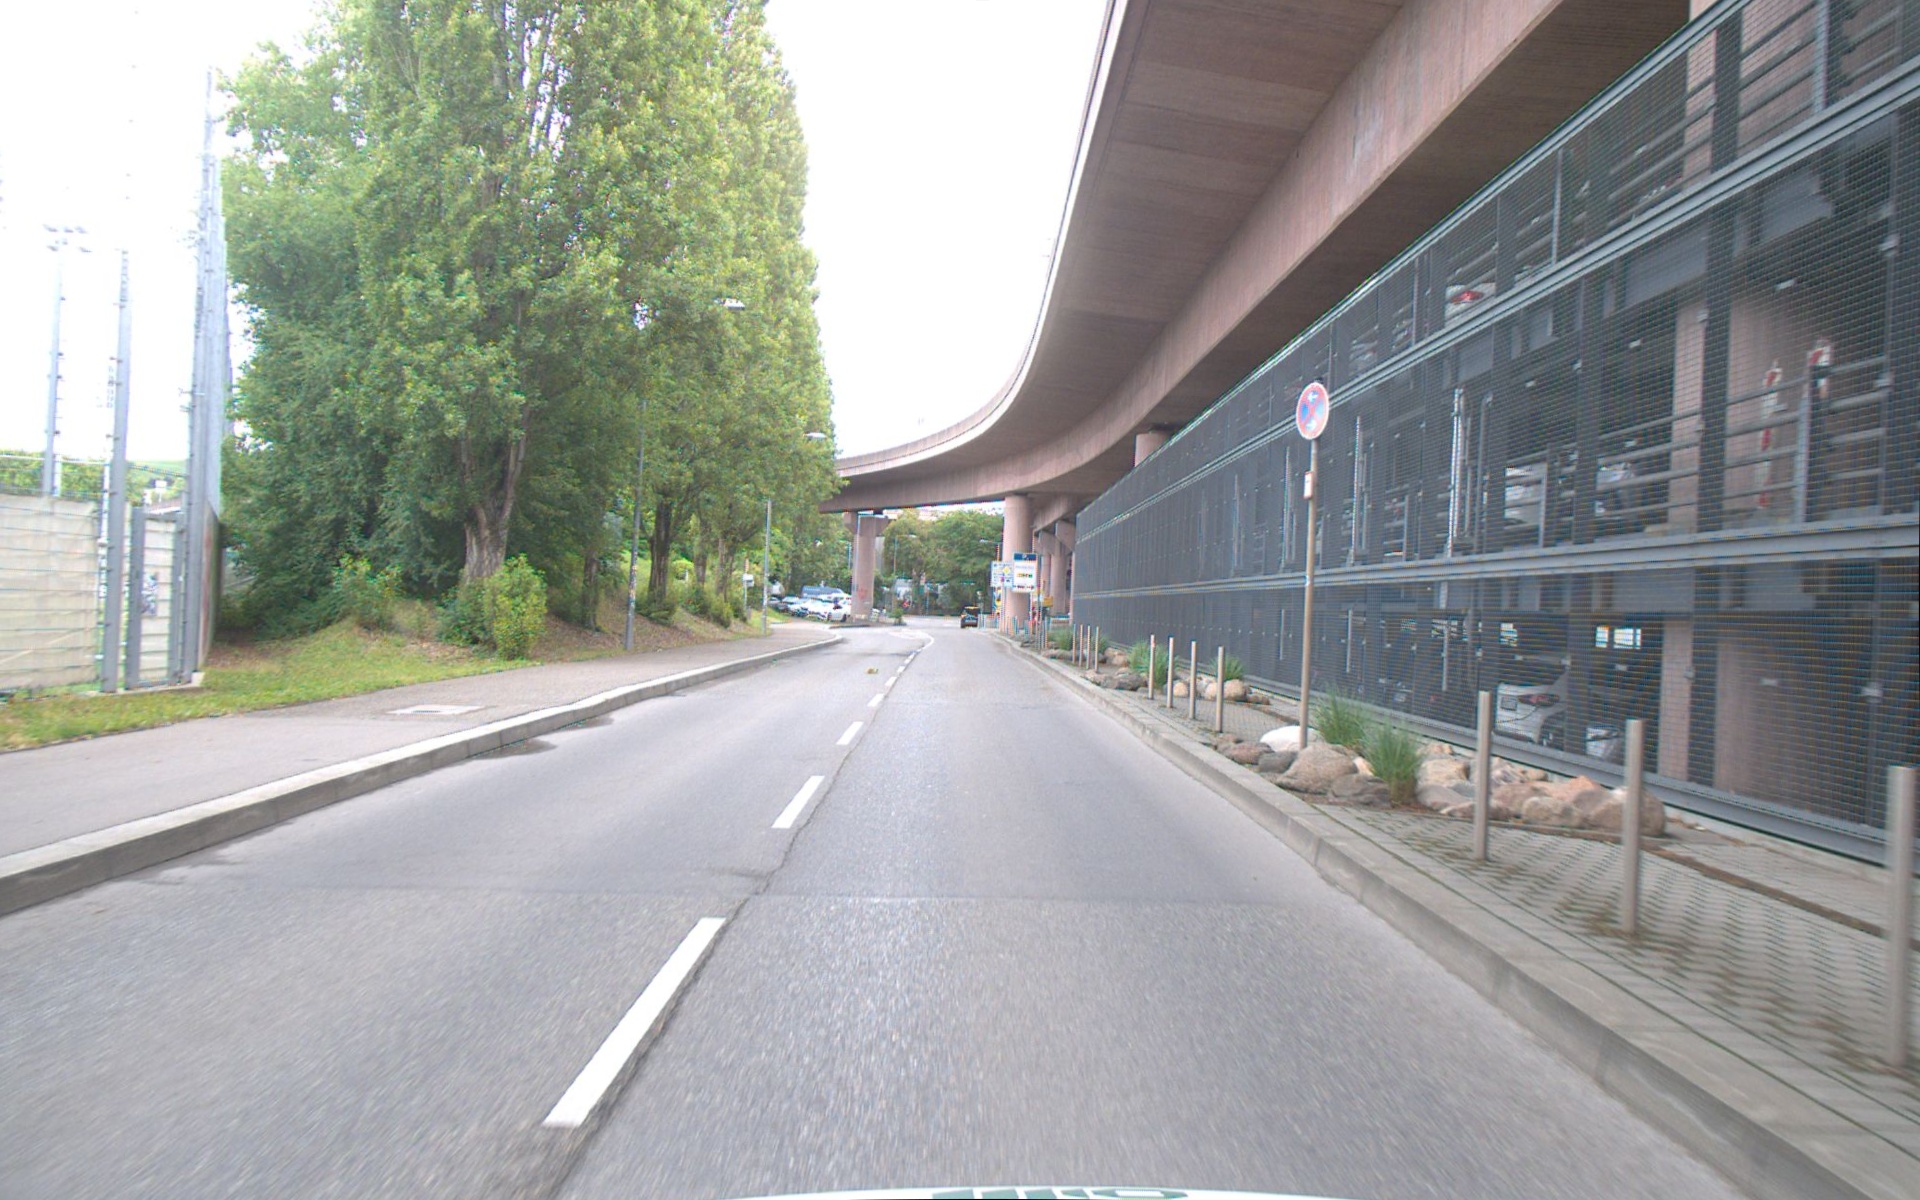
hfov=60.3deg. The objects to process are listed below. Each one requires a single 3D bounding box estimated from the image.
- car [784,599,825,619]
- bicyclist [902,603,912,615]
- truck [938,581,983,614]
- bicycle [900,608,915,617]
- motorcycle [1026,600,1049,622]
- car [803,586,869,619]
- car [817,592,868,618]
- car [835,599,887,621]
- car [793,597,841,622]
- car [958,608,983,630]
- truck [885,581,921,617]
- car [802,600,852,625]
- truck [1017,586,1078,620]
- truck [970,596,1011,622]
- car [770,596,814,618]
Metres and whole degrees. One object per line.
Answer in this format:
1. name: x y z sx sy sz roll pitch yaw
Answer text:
1. car: -12.782 0.730 136.207 1.751 1.479 3.745 2 -1 23
2. bicyclist: -6.184 1.053 194.177 0.788 1.430 1.055 1 -1 -31
3. truck: 0.069 -0.363 208.236 3.021 3.935 8.000 1 2 -21
4. bicycle: -6.160 1.477 194.130 0.794 1.117 2.109 1 -1 -30
5. motorcycle: 5.076 0.703 108.307 0.783 1.390 2.120 1 0 -17
6. car: -12.141 0.246 162.043 6.046 2.772 2.369 3 0 5
7. car: -11.315 0.481 158.930 4.459 2.148 1.852 3 0 8
8. car: -9.194 0.934 153.359 4.288 1.633 1.956 5 0 13
9. car: -11.449 0.806 132.699 1.954 1.610 4.400 6 -1 21
10. car: 0.829 1.576 136.664 1.953 1.709 4.559 2 -1 -1
11. truck: -8.040 -0.181 232.358 3.150 4.863 8.015 1 1 -16
12. car: -10.324 1.002 128.829 1.953 1.505 4.828 6 -1 20
13. truck: 10.364 0.301 194.642 2.880 3.540 8.210 5 4 37
14. truck: 3.815 1.095 209.486 2.873 2.949 6.519 1 2 -21
15. car: -14.121 0.593 139.198 1.820 1.721 4.162 2 -1 23
